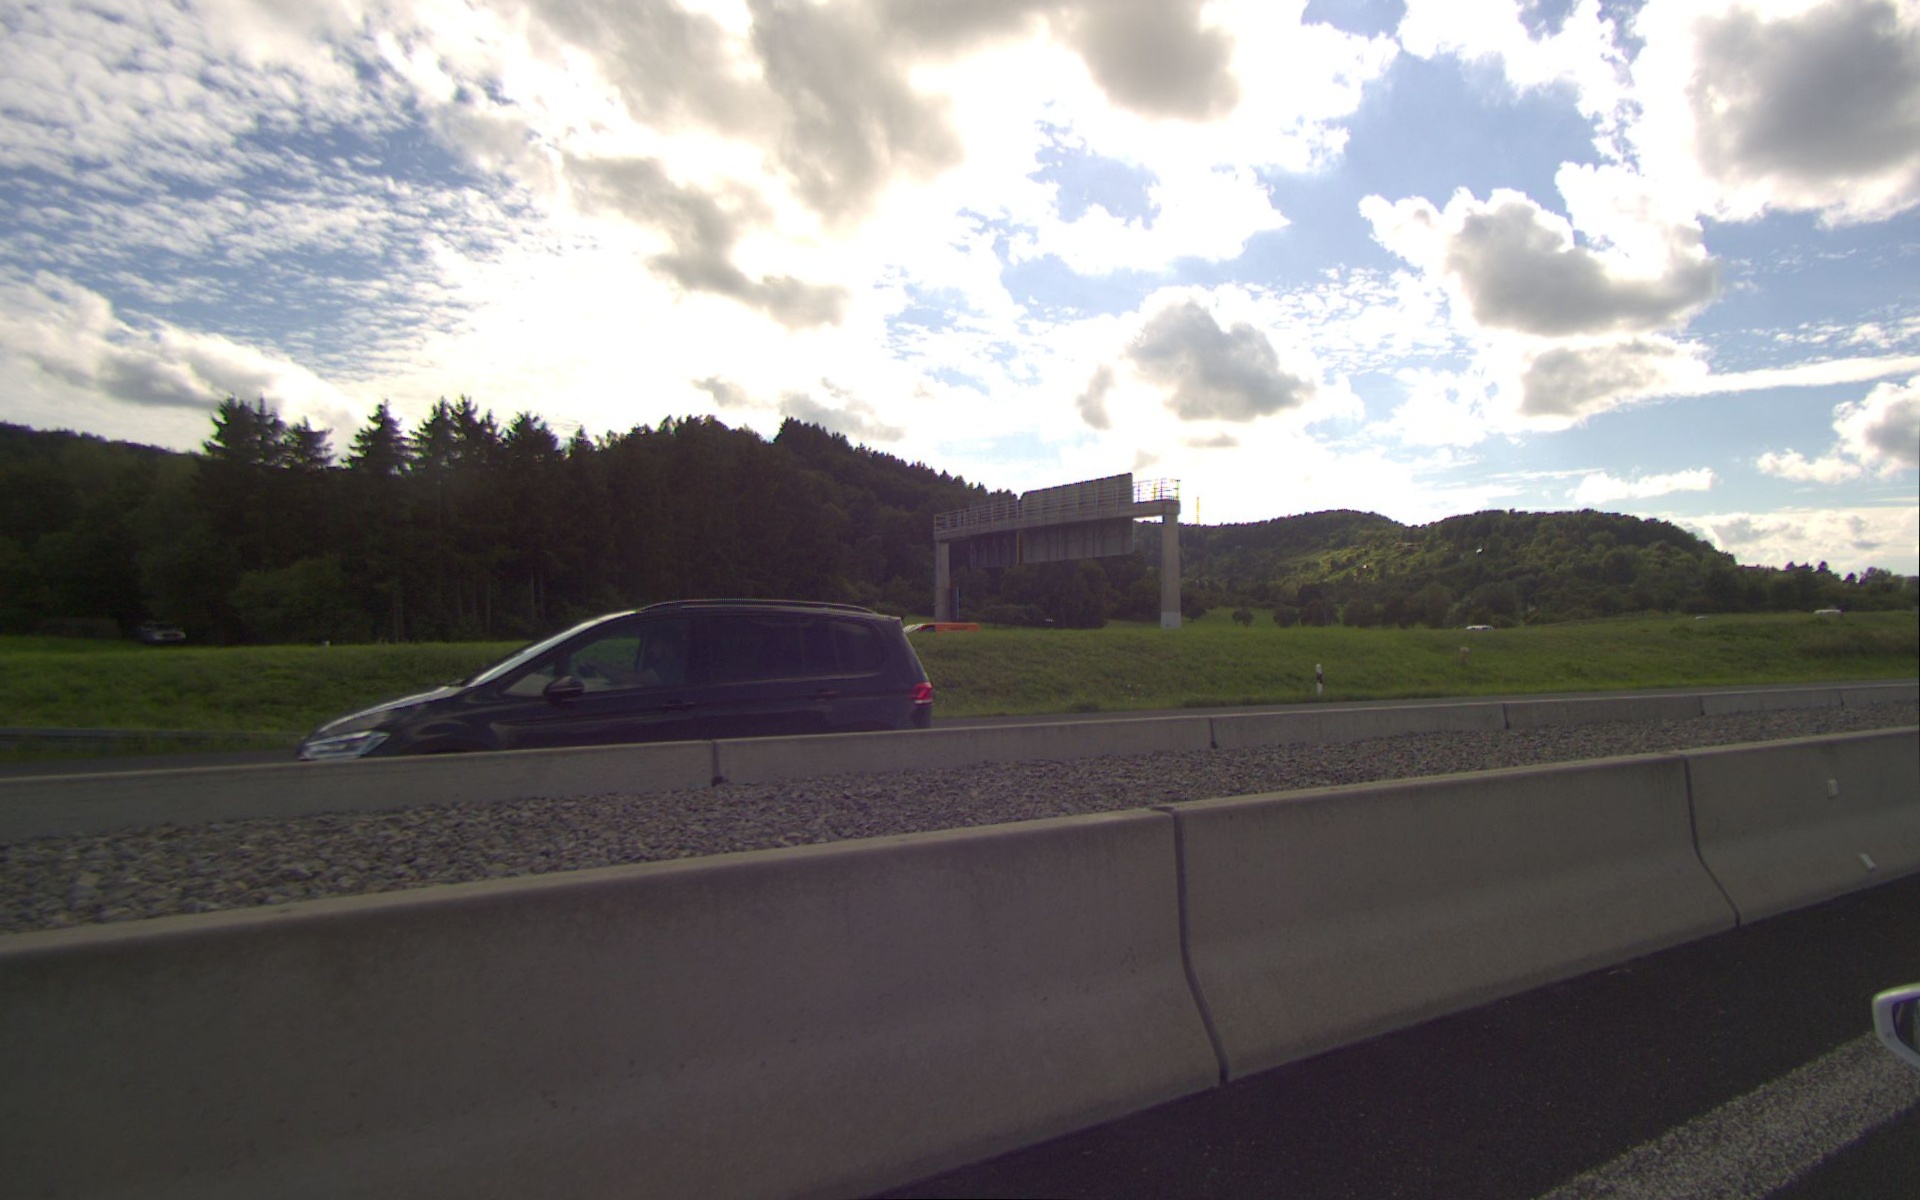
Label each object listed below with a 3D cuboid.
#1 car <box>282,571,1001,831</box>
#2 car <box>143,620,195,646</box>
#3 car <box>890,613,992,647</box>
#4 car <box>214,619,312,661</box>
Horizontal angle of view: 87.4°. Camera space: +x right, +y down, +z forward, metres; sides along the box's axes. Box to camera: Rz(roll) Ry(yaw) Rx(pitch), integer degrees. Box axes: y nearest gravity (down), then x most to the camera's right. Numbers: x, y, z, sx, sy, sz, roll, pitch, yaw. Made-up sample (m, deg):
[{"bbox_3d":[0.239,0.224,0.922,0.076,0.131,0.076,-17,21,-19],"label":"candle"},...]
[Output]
[{"bbox_3d":[-2.123,0.646,7.464,4.670,1.416,1.779,2,-3,-31],"label":"car"},{"bbox_3d":[-55.119,2.271,69.978,3.939,1.706,1.991,0,-1,39],"label":"car"},{"bbox_3d":[-0.887,1.495,48.817,4.842,1.568,1.761,2,-3,-36],"label":"car"},{"bbox_3d":[-35.110,2.018,50.700,3.959,2.040,1.982,2,-3,-34],"label":"car"}]
